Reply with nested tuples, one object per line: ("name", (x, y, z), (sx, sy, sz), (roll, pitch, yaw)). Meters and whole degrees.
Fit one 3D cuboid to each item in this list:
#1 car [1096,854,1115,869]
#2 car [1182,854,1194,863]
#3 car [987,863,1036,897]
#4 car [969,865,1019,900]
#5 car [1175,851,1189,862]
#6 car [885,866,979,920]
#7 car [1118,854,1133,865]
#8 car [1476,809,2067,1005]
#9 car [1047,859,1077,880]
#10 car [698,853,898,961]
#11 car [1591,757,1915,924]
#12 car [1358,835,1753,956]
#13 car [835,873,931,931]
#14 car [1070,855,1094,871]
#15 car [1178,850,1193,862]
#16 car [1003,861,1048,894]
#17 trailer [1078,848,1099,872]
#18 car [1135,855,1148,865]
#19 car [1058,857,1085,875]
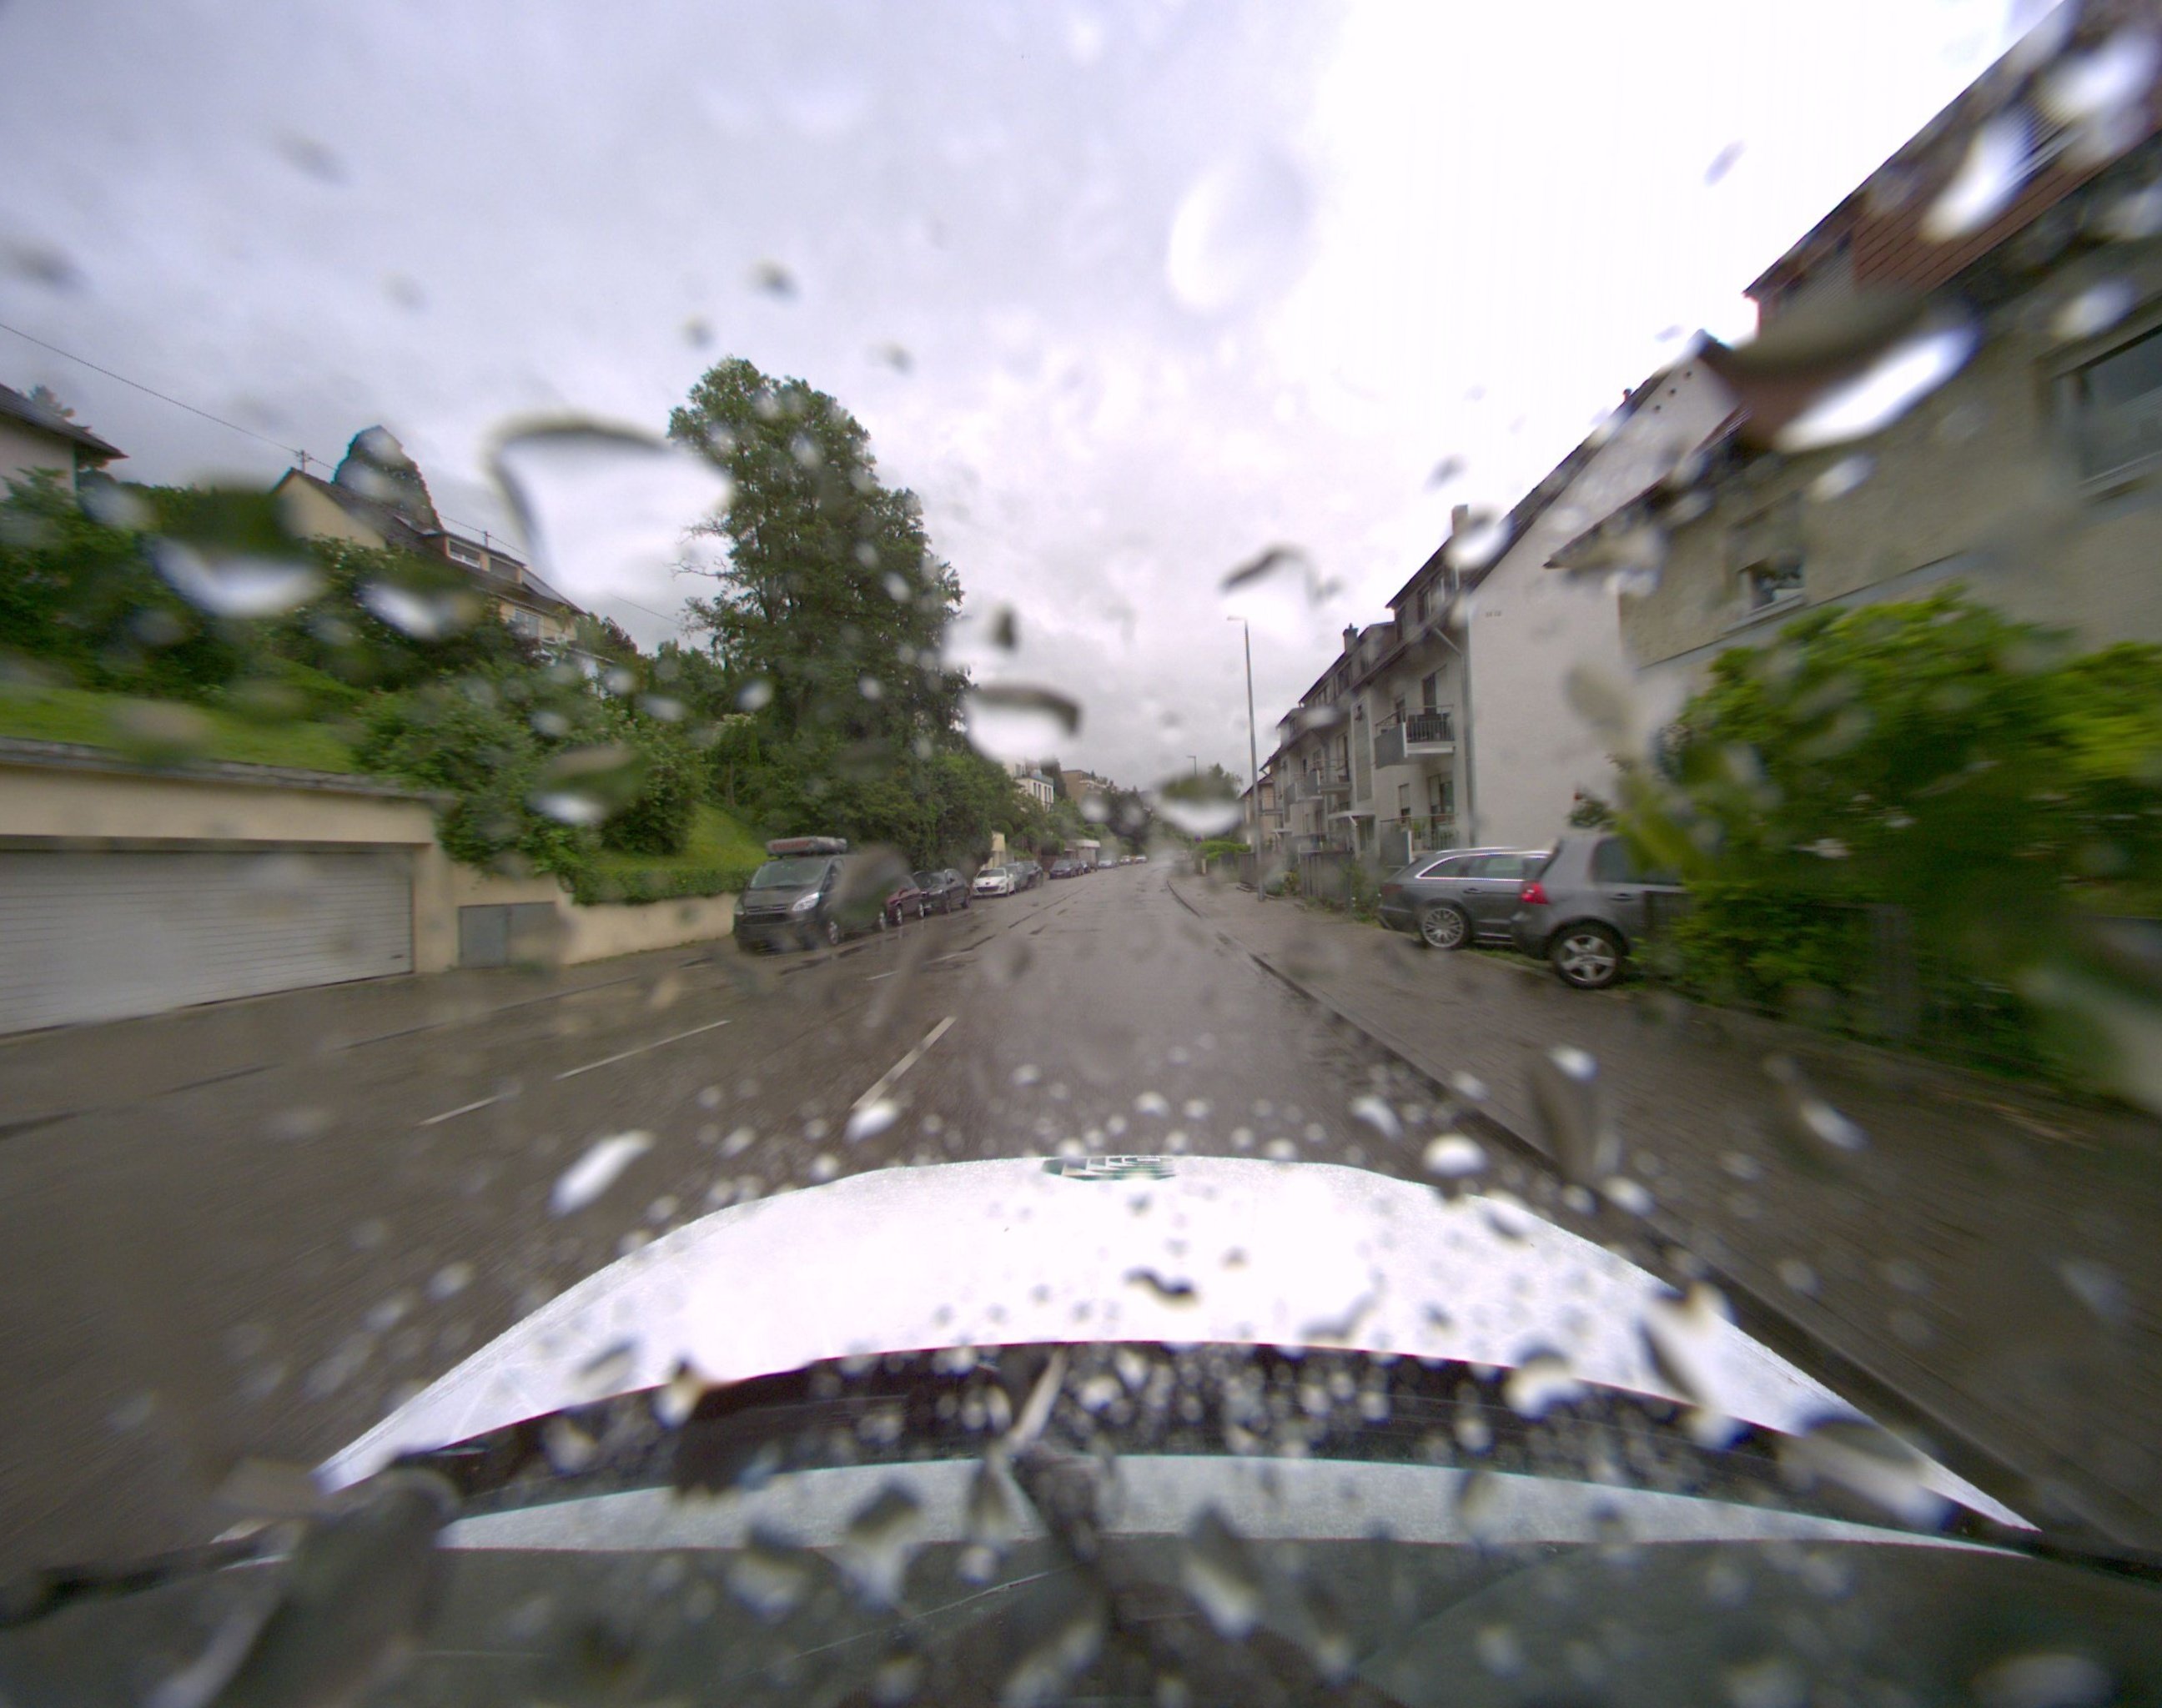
("car", (3.004, 0.931, 100.292), (1.746, 1.539, 3.765), (-7, 0, 8))
("car", (17.539, 0.691, 133.298), (1.698, 1.403, 4.217), (-3, 0, 12))
("car", (-3.802, 1.381, 45.215), (1.733, 1.561, 4.117), (-6, 0, 6))
("car", (-4.238, 1.349, 40.079), (1.709, 1.365, 4.086), (-6, 0, 3))
("car", (15.175, 0.330, 122.324), (1.777, 1.459, 4.322), (-3, 0, 12))
("car", (-5.126, 1.295, 28.719), (1.899, 1.480, 4.762), (-6, -1, 5))
("car", (6.697, 0.842, 122.872), (1.746, 1.402, 3.779), (-6, 0, 8))
("car", (6.234, 0.449, 7.950), (3.948, 1.457, 1.784), (-3, 0, 36))
("car", (-1.539, 1.245, 67.889), (1.777, 1.454, 4.763), (-6, 0, 5))
("car", (-6.025, 1.023, 18.240), (2.149, 1.919, 5.329), (-4, 0, 4))
("car", (12.525, -0.282, 15.422), (4.442, 2.759, 2.008), (-3, 3, 2))
("car", (6.317, 0.550, 11.175), (4.325, 1.364, 1.932), (-3, -1, 36))
("car", (-5.690, 1.338, 23.863), (1.558, 1.364, 3.910), (-5, 0, 3))
("car", (0.152, 0.870, 80.496), (1.799, 1.349, 3.783), (-5, 0, 7))
("car", (16.387, 0.304, 127.615), (1.773, 1.790, 4.375), (-3, 0, 12))
("car", (-3.339, 1.373, 50.034), (1.865, 1.625, 4.601), (-7, 0, 6))
("trailer", (0.809, 0.623, 86.051), (1.527, 2.399, 3.082), (-6, 0, 10))
("car", (10.543, 1.076, 141.723), (1.745, 1.497, 4.231), (-5, -1, 9))
("car", (-0.803, 1.076, 73.708), (1.776, 1.415, 4.225), (-5, 0, 7))
